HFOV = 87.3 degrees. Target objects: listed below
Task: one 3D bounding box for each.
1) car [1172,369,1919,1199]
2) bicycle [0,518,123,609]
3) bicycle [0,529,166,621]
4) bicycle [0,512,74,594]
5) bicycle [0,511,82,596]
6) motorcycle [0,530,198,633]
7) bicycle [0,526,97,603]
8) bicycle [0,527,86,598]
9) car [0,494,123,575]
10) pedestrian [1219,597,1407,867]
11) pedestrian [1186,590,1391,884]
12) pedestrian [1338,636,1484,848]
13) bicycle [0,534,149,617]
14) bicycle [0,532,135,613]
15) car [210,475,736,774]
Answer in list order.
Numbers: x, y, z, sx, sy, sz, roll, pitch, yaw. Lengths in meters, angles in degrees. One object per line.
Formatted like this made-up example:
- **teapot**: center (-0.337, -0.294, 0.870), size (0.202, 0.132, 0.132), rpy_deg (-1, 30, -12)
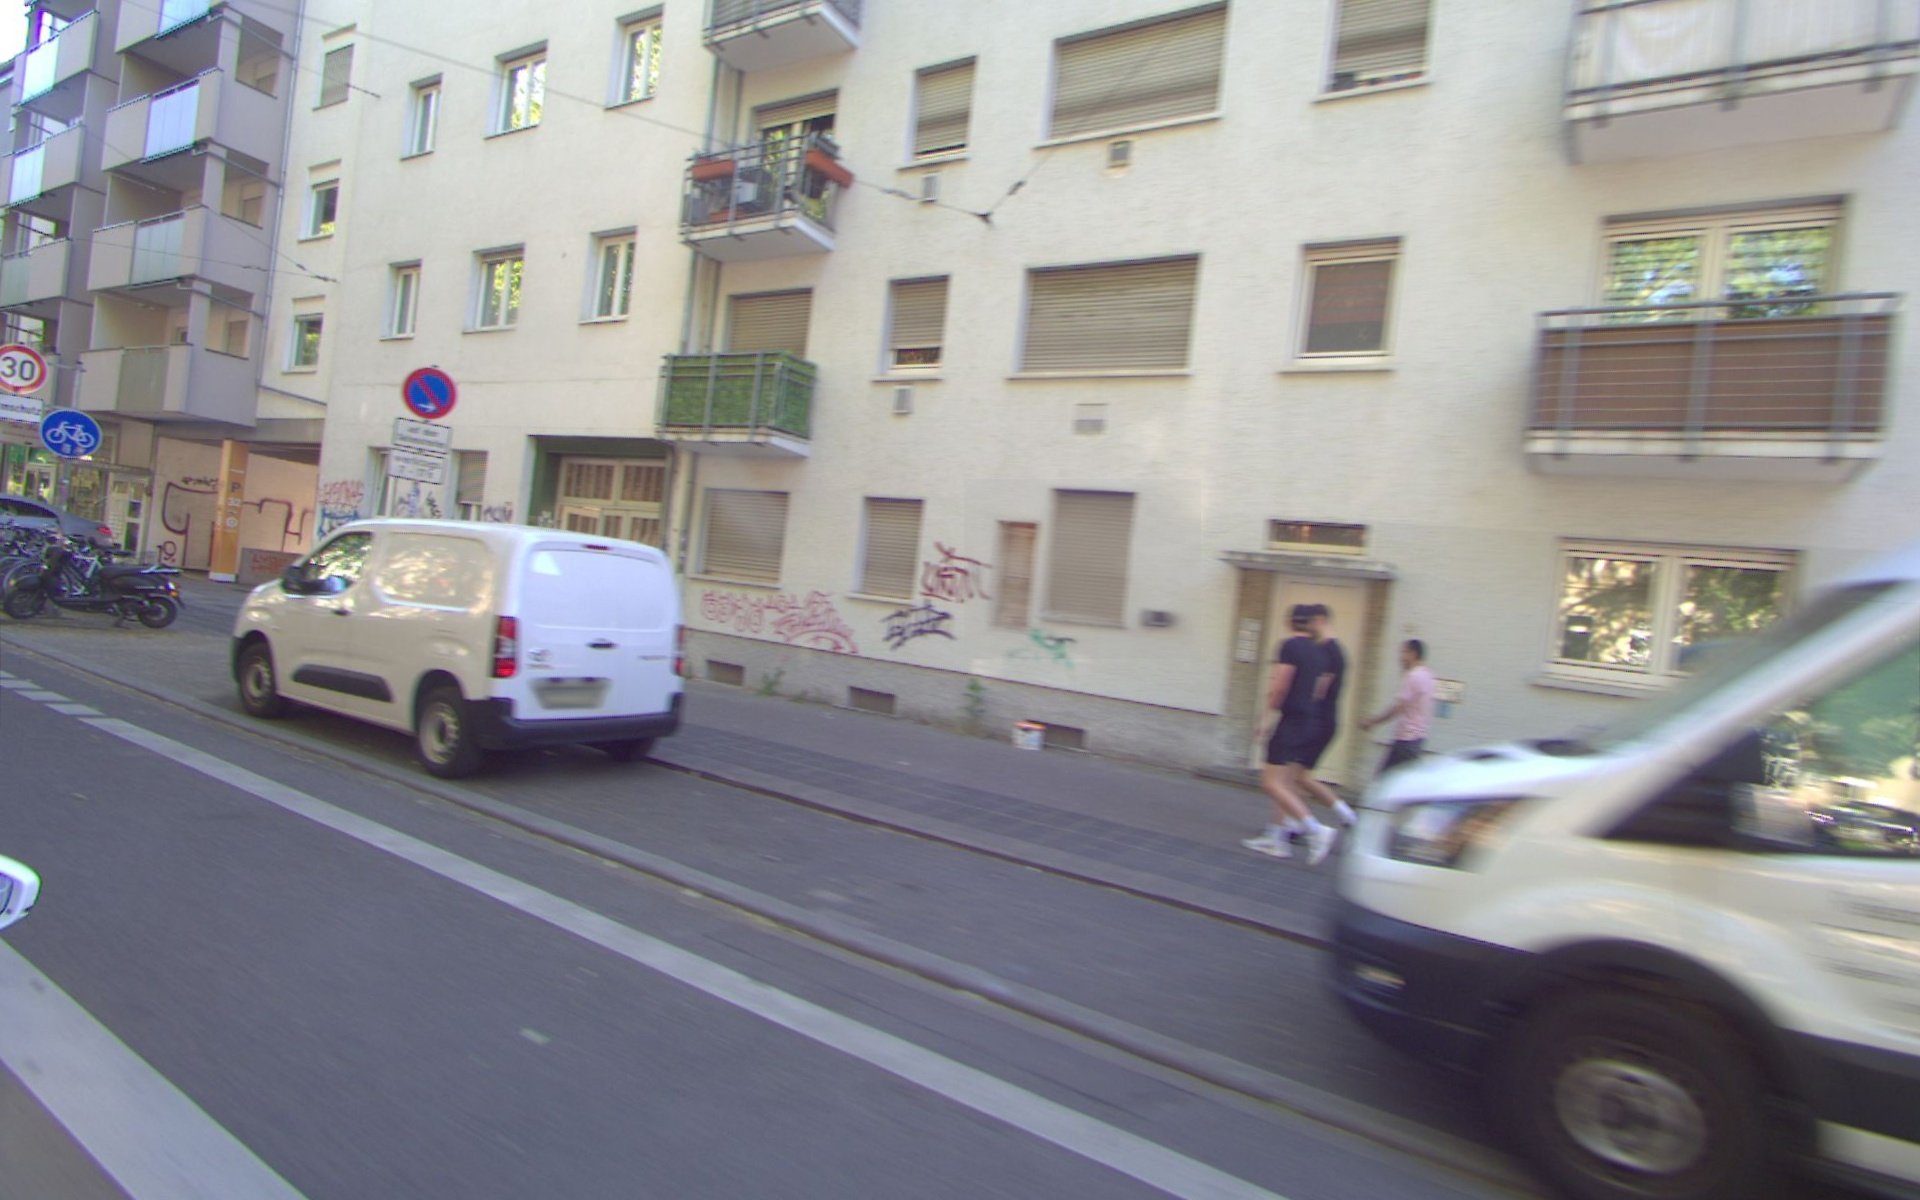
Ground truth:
- **car**: center (4.007, 0.821, 3.058), size (5.988, 2.525, 2.152), rpy_deg (6, -1, 32)
- **bicycle**: center (-13.127, -0.523, 14.242), size (0.693, 1.163, 1.794), rpy_deg (7, 2, 32)
- **bicycle**: center (-11.560, -0.302, 13.230), size (0.449, 1.069, 1.653), rpy_deg (7, 2, 32)
- **bicycle**: center (-14.893, -0.754, 15.402), size (0.449, 1.207, 1.893), rpy_deg (7, 2, 32)
- **bicycle**: center (-14.488, -0.733, 15.136), size (0.449, 1.207, 1.824), rpy_deg (7, 2, 32)
- **motorcycle**: center (-10.826, -0.215, 12.701), size (1.807, 1.093, 0.611), rpy_deg (6, 1, -35)
- **bicycle**: center (-13.683, -0.533, 14.603), size (0.449, 1.034, 1.653), rpy_deg (7, 2, 32)
- **bicycle**: center (-14.094, -0.578, 14.888), size (0.449, 0.978, 1.653), rpy_deg (7, 1, 32)
- **car**: center (-20.074, -1.464, 20.226), size (1.830, 1.455, 4.626), rpy_deg (7, 1, 21)
- **pedestrian**: center (2.701, 0.960, 7.713), size (1.064, 1.846, 0.625), rpy_deg (6, 1, 34)
- **pedestrian**: center (2.334, 0.913, 7.151), size (1.064, 1.846, 0.709), rpy_deg (6, 1, 34)
- **pedestrian**: center (3.857, 1.167, 8.612), size (0.918, 1.603, 0.631), rpy_deg (6, 5, 34)
- **bicycle**: center (-12.069, -0.311, 13.579), size (0.449, 1.000, 1.653), rpy_deg (7, 1, 32)
- **bicycle**: center (-12.479, -0.372, 13.837), size (0.449, 1.000, 1.653), rpy_deg (7, 1, 32)
- **car**: center (-4.128, 0.043, 8.328), size (4.279, 1.845, 1.858), rpy_deg (6, 2, 32)
